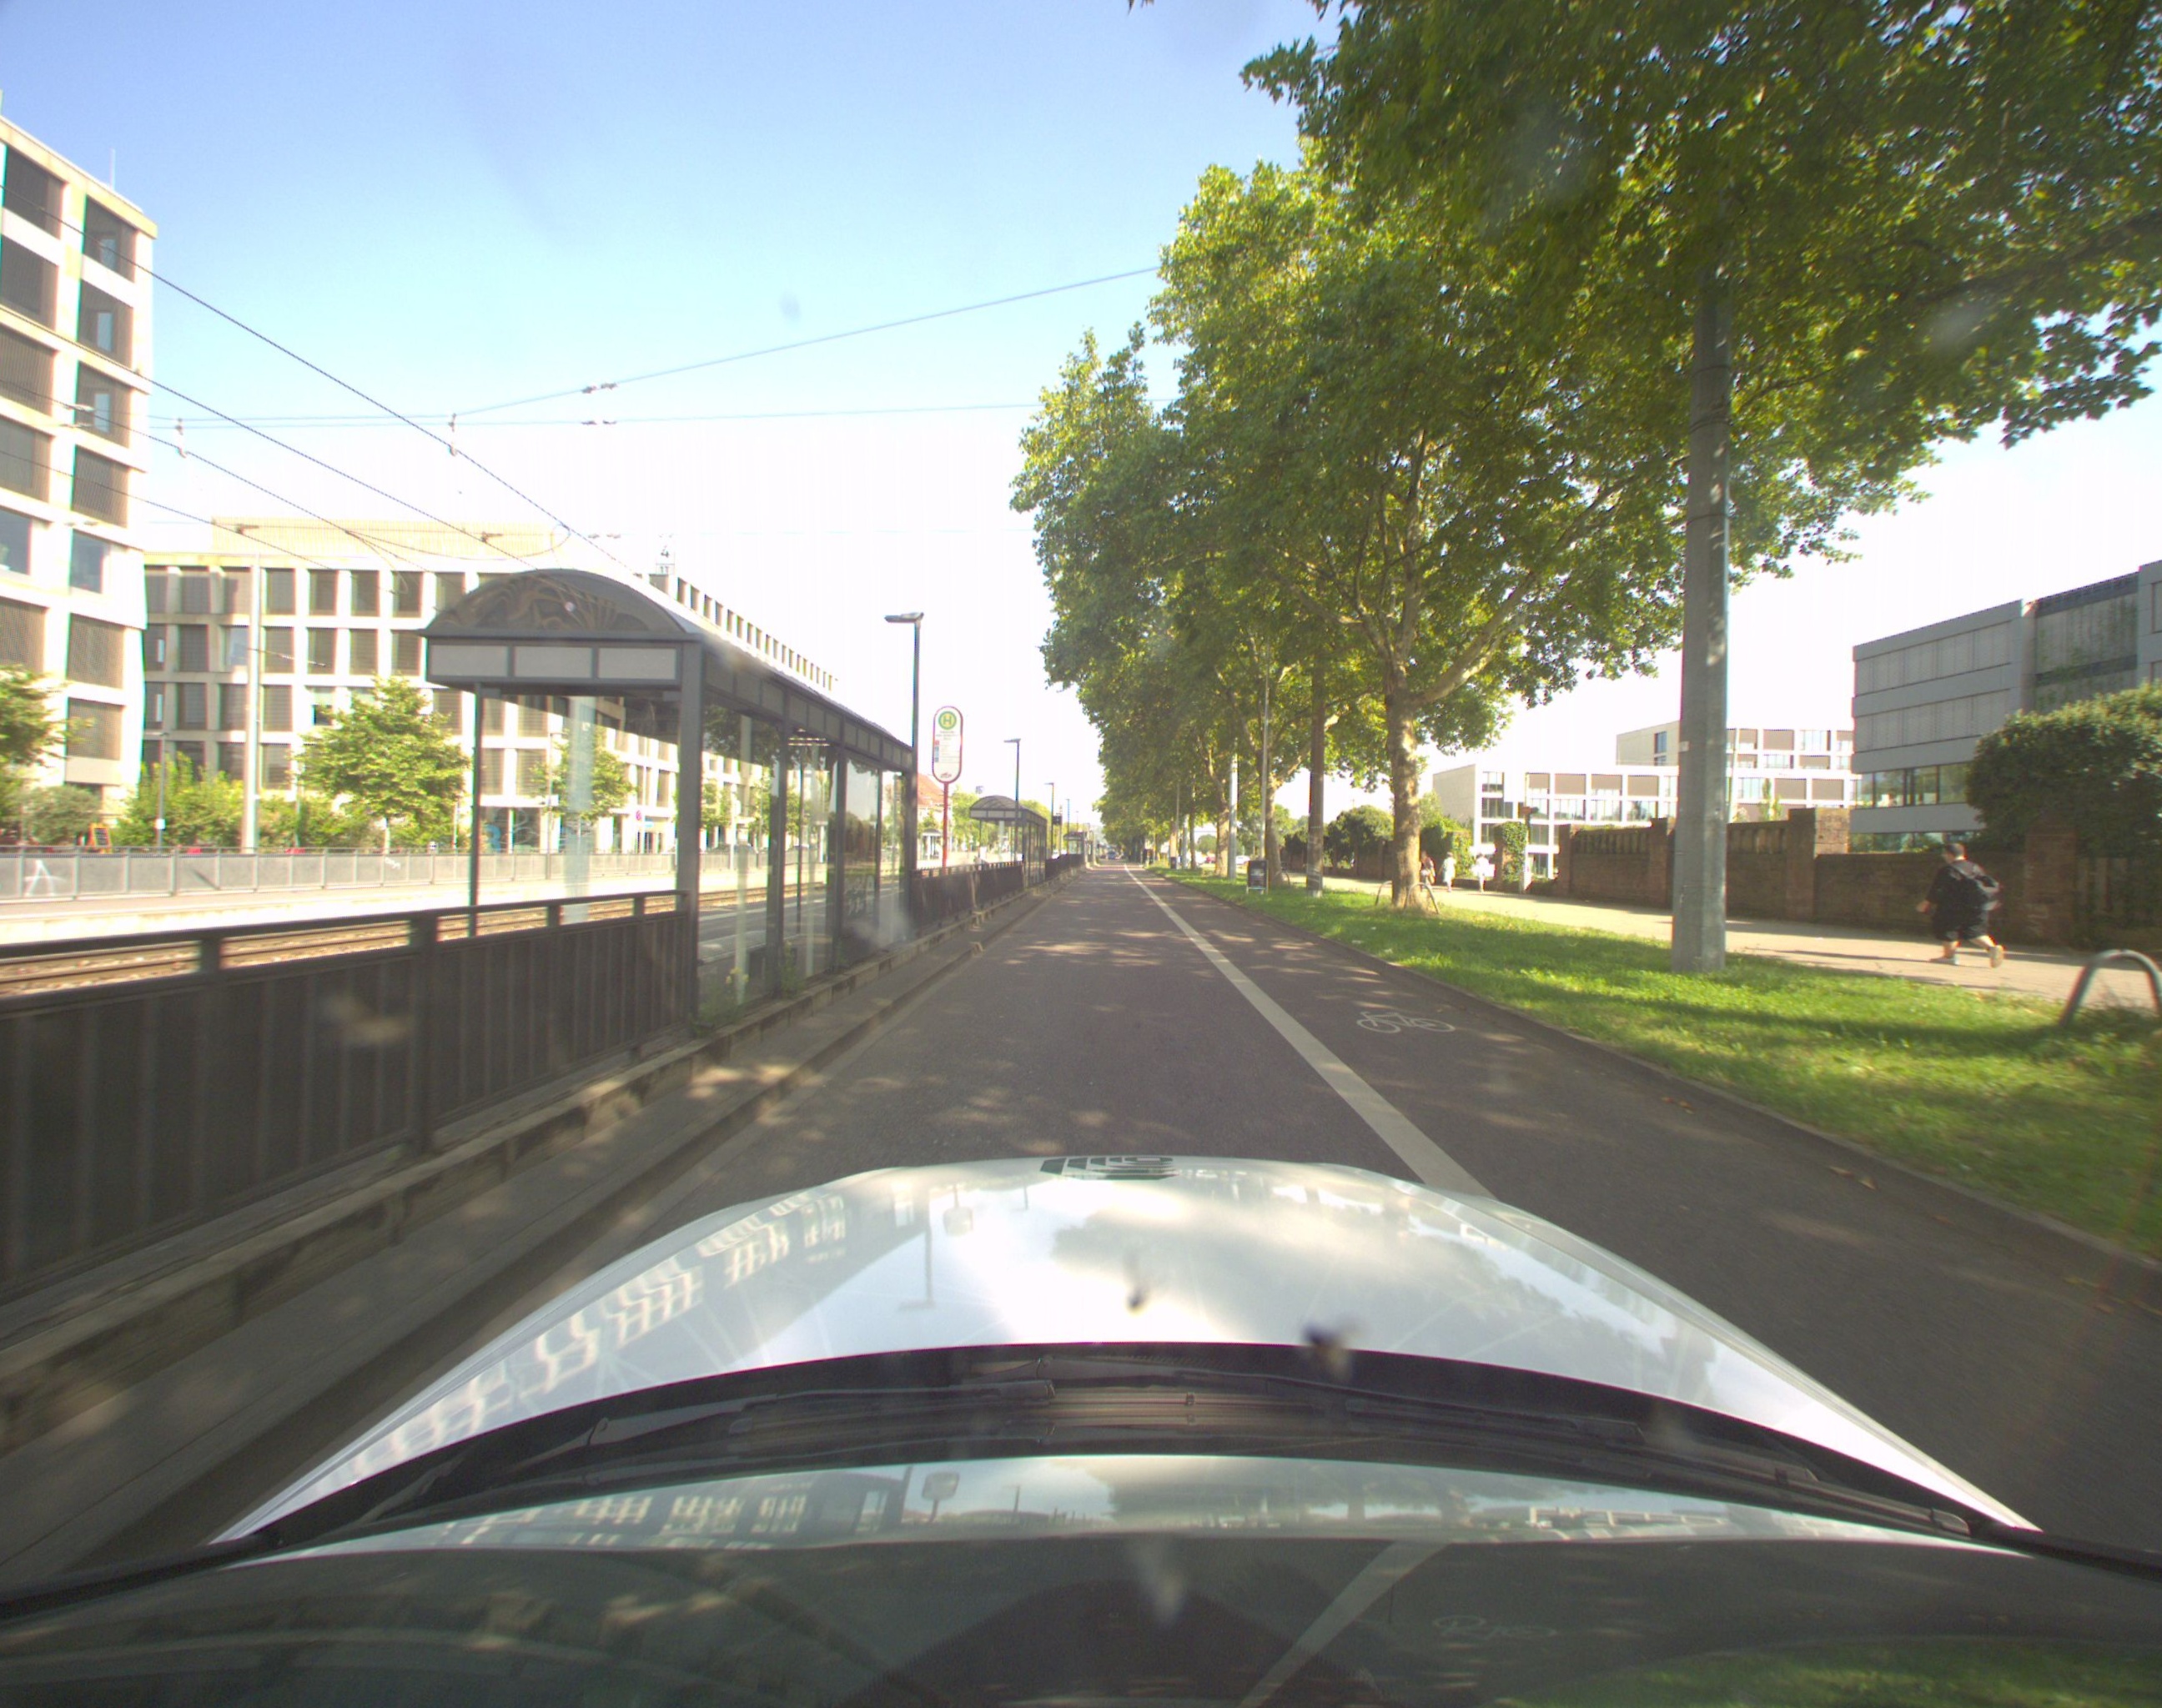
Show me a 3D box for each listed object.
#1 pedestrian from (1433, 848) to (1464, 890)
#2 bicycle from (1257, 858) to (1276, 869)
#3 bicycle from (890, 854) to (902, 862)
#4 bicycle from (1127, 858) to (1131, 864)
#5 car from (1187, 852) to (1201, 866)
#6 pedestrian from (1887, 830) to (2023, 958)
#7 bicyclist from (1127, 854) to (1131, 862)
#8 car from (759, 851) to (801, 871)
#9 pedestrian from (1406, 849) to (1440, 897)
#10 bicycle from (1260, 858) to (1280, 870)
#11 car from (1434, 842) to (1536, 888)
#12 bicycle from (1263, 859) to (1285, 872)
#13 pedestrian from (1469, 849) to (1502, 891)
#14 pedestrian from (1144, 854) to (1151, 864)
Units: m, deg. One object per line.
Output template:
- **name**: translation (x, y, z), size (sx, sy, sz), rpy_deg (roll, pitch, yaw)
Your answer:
- **pedestrian**: translation (14.433, 0.594, 32.009), size (0.803, 1.604, 0.948), rpy_deg (-1, 0, 2)
- **bicycle**: translation (16.837, 0.824, 73.877), size (1.648, 0.969, 0.507), rpy_deg (-1, 0, 4)
- **bicycle**: translation (-14.858, 0.299, 65.471), size (0.474, 0.662, 1.616), rpy_deg (1, 0, 7)
- **bicycle**: translation (9.202, 1.351, 155.830), size (0.712, 1.107, 2.510), rpy_deg (2, 0, 3)
- **car**: translation (17.077, 0.761, 123.630), size (1.715, 2.048, 4.464), rpy_deg (1, 0, 2)
- **pedestrian**: translation (12.051, 0.531, 11.272), size (0.816, 1.686, 1.012), rpy_deg (0, 0, 2)
- **bicyclist**: translation (9.222, 0.831, 155.886), size (0.703, 1.461, 1.009), rpy_deg (2, -1, 2)
- **car**: translation (-23.962, 0.528, 64.876), size (1.636, 1.550, 4.224), rpy_deg (1, 0, 2)
- **pedestrian**: translation (11.919, 0.669, 28.391), size (0.803, 1.636, 0.948), rpy_deg (-1, 0, 2)
- **bicycle**: translation (16.105, 0.847, 69.400), size (1.647, 0.969, 0.507), rpy_deg (-1, 0, 7)
- **car**: translation (22.306, 0.611, 45.089), size (4.644, 2.318, 2.056), rpy_deg (2, -1, 1)
- **bicycle**: translation (15.789, 0.942, 66.595), size (1.647, 0.969, 0.507), rpy_deg (-1, 0, 7)
- **pedestrian**: translation (15.762, 0.616, 31.756), size (0.803, 1.604, 0.948), rpy_deg (-1, 0, 2)
- **pedestrian**: translation (10.318, 0.798, 126.550), size (0.619, 1.617, 0.850), rpy_deg (0, 0, 39)
